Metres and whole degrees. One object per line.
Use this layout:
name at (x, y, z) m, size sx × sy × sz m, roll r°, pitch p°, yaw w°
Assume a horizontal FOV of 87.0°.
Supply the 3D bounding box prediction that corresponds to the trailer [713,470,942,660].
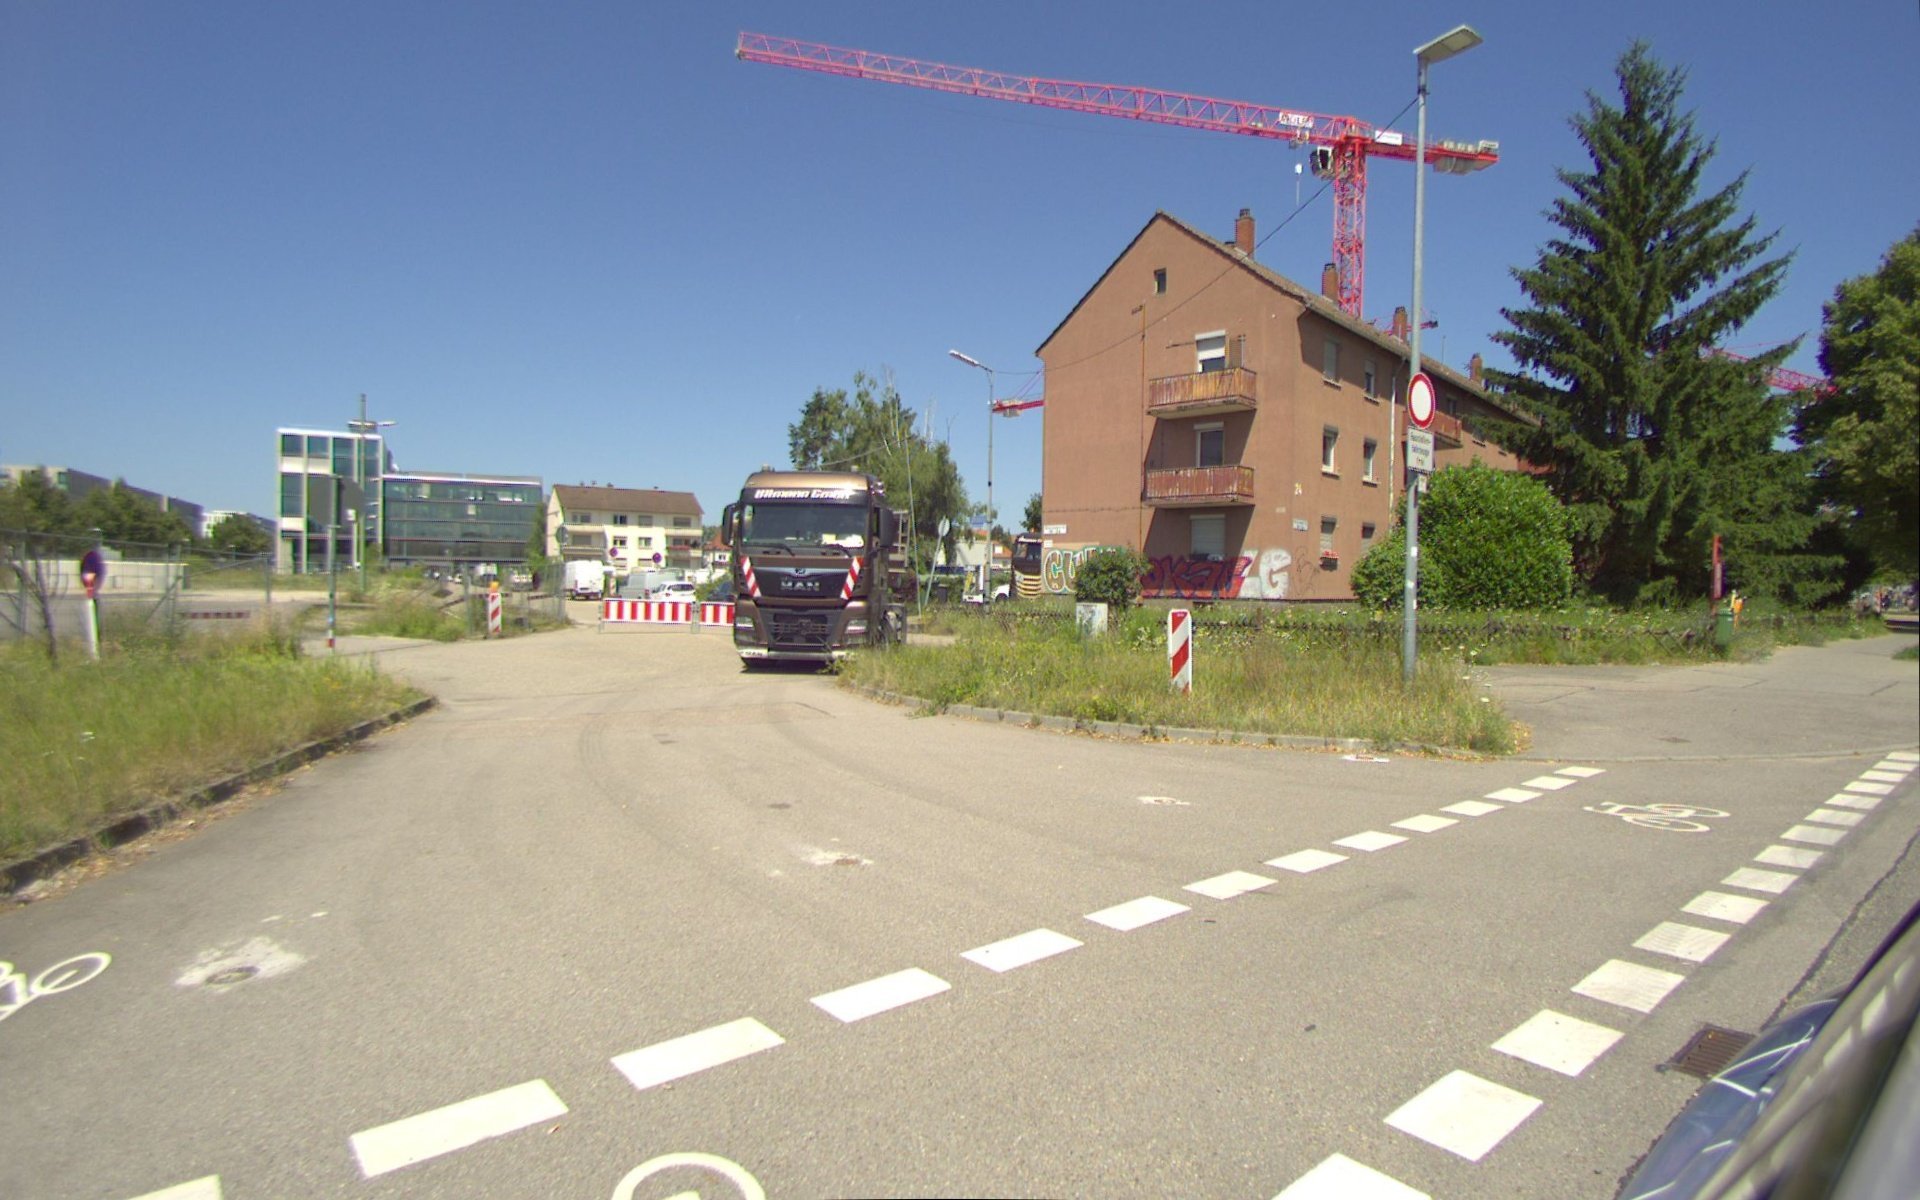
trailer at (-3.531, -0.749, 23.833) m, size 3.098 × 3.577 × 9.011 m, roll 1°, pitch 1°, yaw -22°

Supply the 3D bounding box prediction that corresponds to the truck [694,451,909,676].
truck at (-2.685, -0.640, 18.795) m, size 3.106 × 3.577 × 4.964 m, roll 1°, pitch 1°, yaw 1°

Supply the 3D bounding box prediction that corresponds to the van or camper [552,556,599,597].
van or camper at (-26.158, -1.597, 68.625) m, size 1.891 × 2.634 × 7.011 m, roll 0°, pitch 1°, yaw -30°

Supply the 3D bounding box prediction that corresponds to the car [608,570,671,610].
car at (-16.778, -0.553, 52.865) m, size 1.751 × 2.039 × 4.682 m, roll 0°, pitch 1°, yaw -36°

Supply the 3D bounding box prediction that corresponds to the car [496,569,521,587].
car at (-42.808, -2.054, 95.904) m, size 1.648 × 1.606 × 3.623 m, roll -1°, pitch 1°, yaw -33°

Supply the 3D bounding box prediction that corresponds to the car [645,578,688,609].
car at (-14.031, -0.308, 48.334) m, size 1.390 × 1.423 × 2.794 m, roll 0°, pitch 1°, yaw -28°

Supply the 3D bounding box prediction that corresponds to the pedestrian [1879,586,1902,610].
pedestrian at (61.947, -0.152, 67.368) m, size 0.670 × 1.536 × 1.023 m, roll 0°, pitch 1°, yaw -40°
